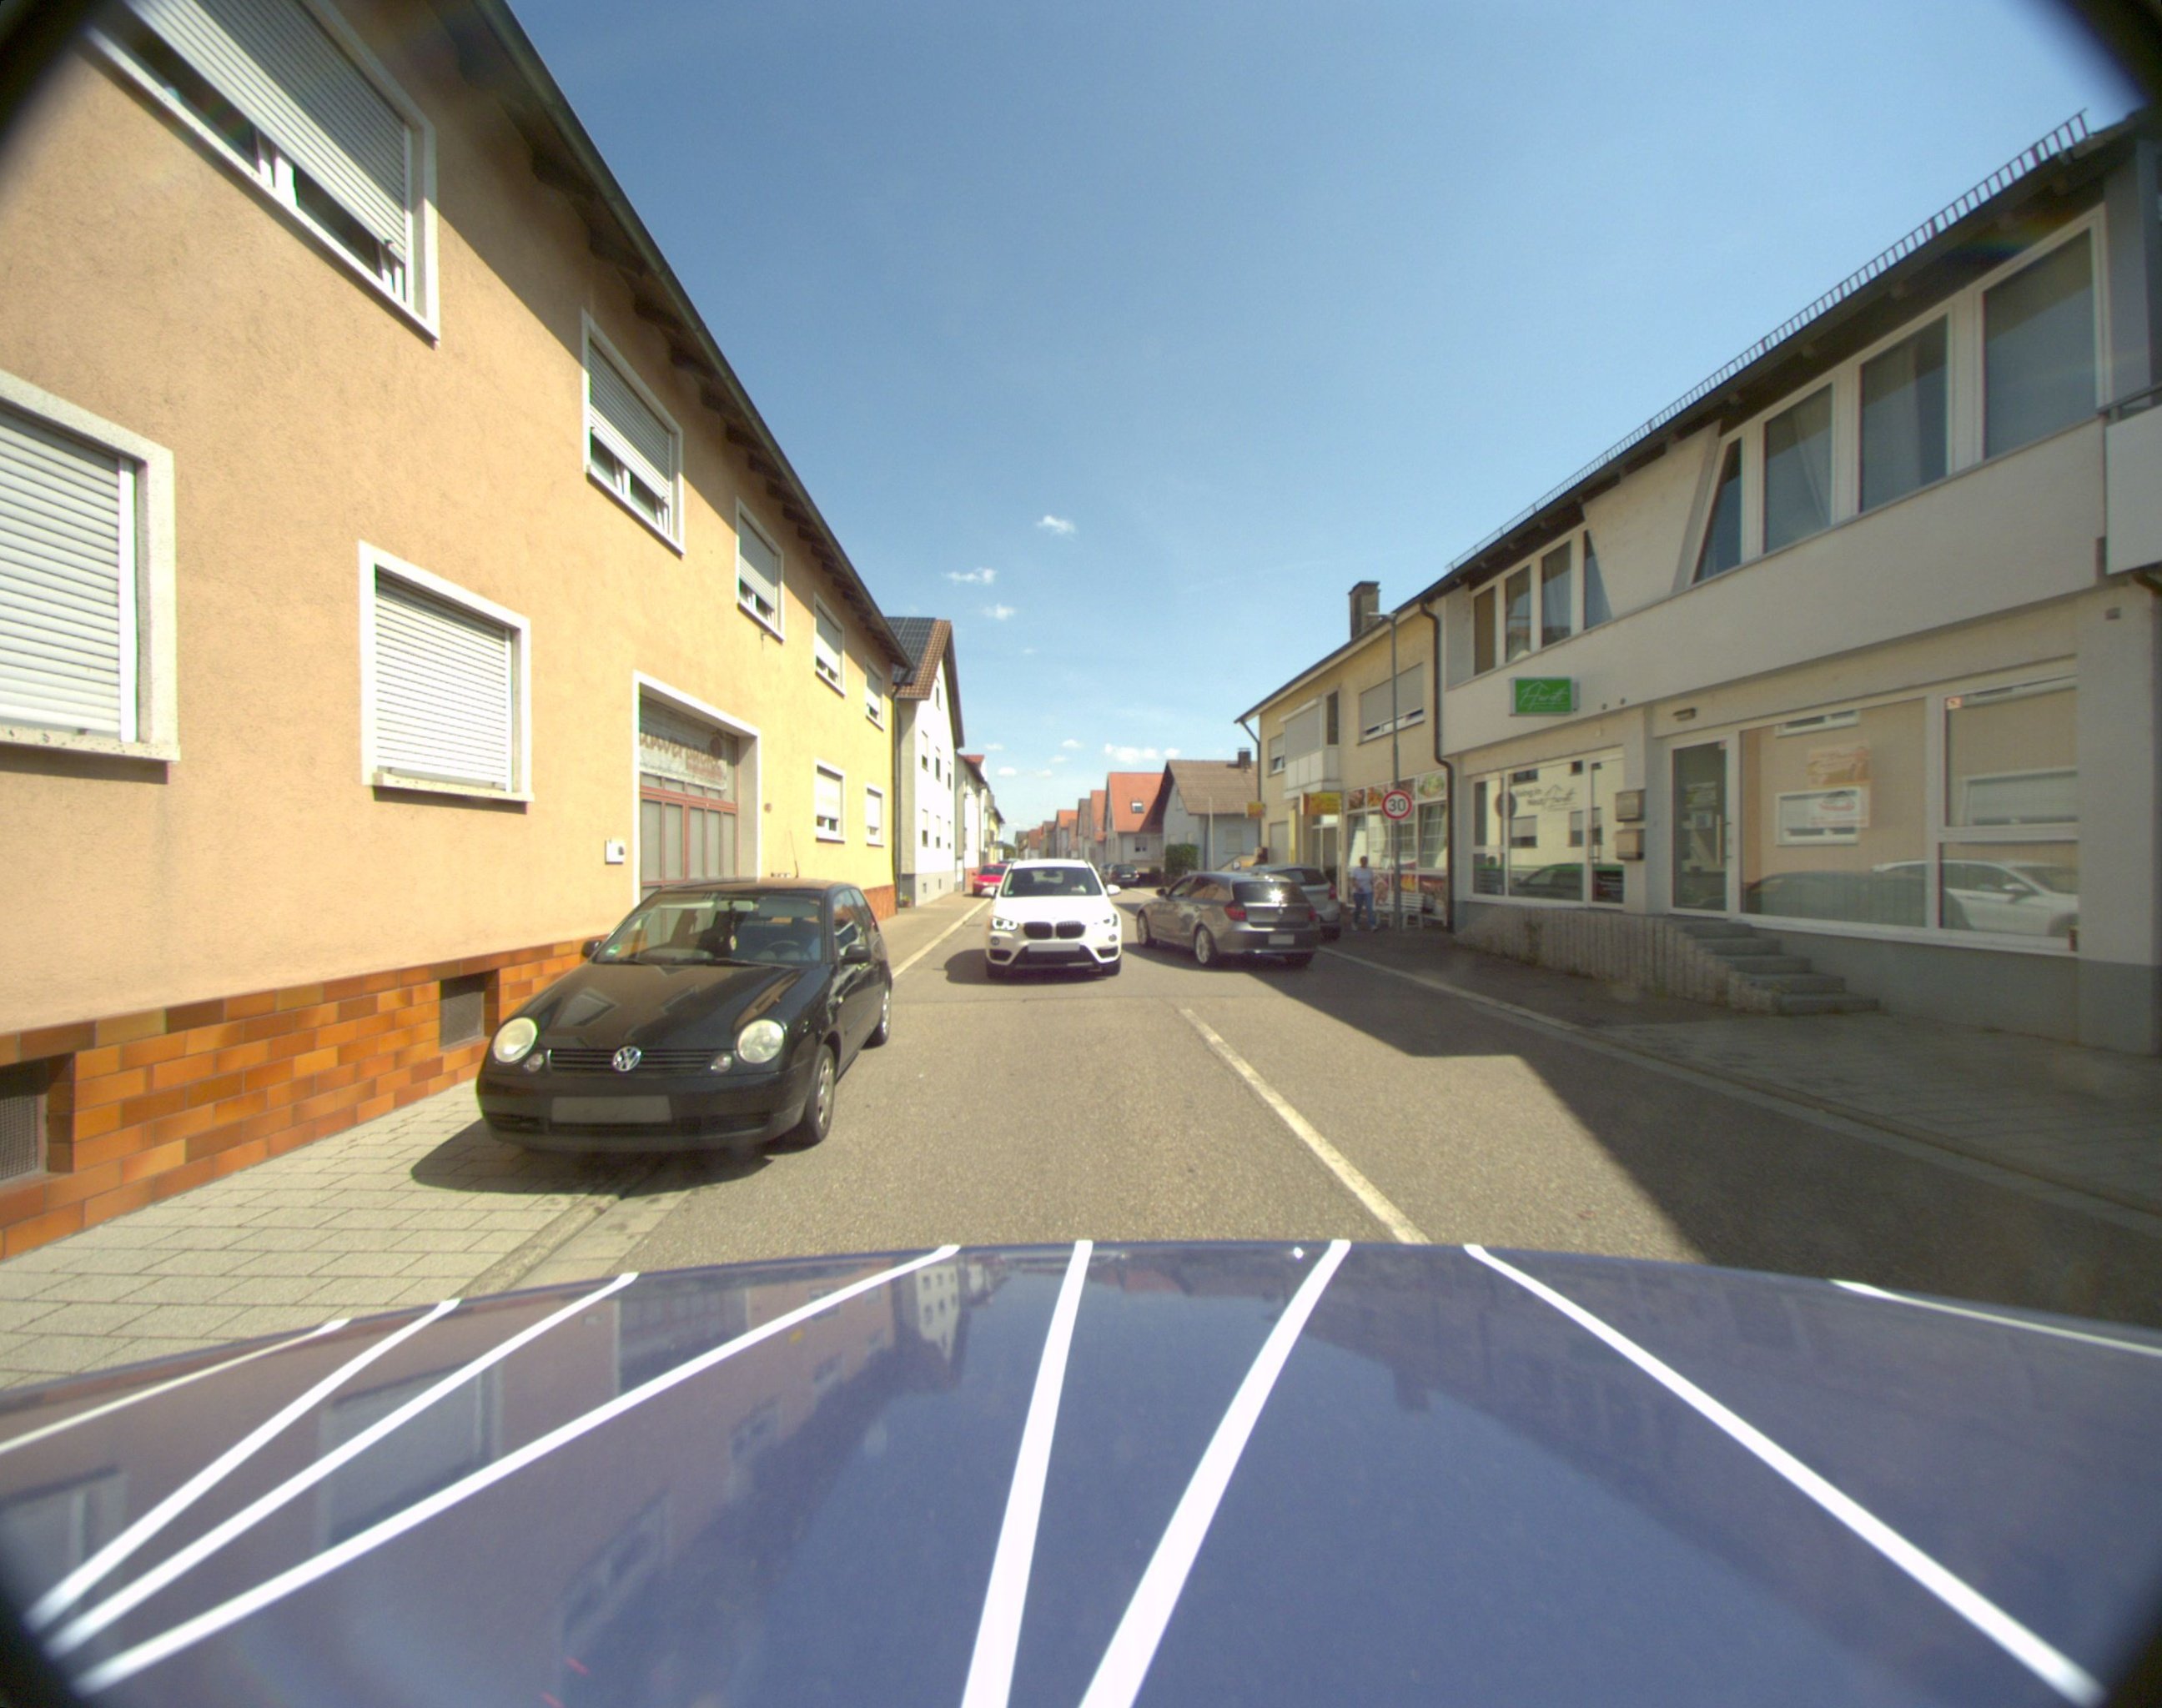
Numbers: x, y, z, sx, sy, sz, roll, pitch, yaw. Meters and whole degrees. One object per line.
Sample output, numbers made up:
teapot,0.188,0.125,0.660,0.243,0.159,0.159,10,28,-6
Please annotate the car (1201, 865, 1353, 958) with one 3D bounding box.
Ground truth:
car,3.910,1.071,15.877,1.749,1.507,3.998,-4,1,-5

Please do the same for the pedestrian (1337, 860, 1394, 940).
pedestrian,5.921,0.941,15.848,0.757,1.574,0.956,-2,1,-2

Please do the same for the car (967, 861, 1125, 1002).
car,-0.536,0.955,11.386,1.845,1.635,4.373,-2,0,-3

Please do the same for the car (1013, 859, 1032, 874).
car,-5.725,1.249,74.571,1.765,1.420,4.188,0,-1,-4

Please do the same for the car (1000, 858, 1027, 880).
car,-4.512,0.977,51.161,1.765,1.420,4.188,0,-1,-4

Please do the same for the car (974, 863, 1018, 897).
car,-3.737,1.122,34.036,1.765,1.420,4.188,0,-1,-4

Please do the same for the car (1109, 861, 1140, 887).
car,2.524,1.136,44.511,1.458,1.362,3.383,-3,0,-2

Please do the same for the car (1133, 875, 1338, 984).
car,2.313,1.101,12.452,1.767,1.389,3.865,1,0,-14

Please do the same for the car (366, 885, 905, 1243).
car,-2.384,1.024,5.199,1.691,1.454,3.628,2,-1,-4

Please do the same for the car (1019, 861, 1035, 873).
car,-6.701,1.576,93.268,1.765,1.420,4.187,0,-1,-7

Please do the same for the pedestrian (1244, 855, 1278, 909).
pedestrian,5.481,0.836,23.163,0.757,1.574,0.956,-2,1,-2

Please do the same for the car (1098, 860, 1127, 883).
car,2.013,1.112,48.876,1.442,1.362,3.383,-3,0,-4
